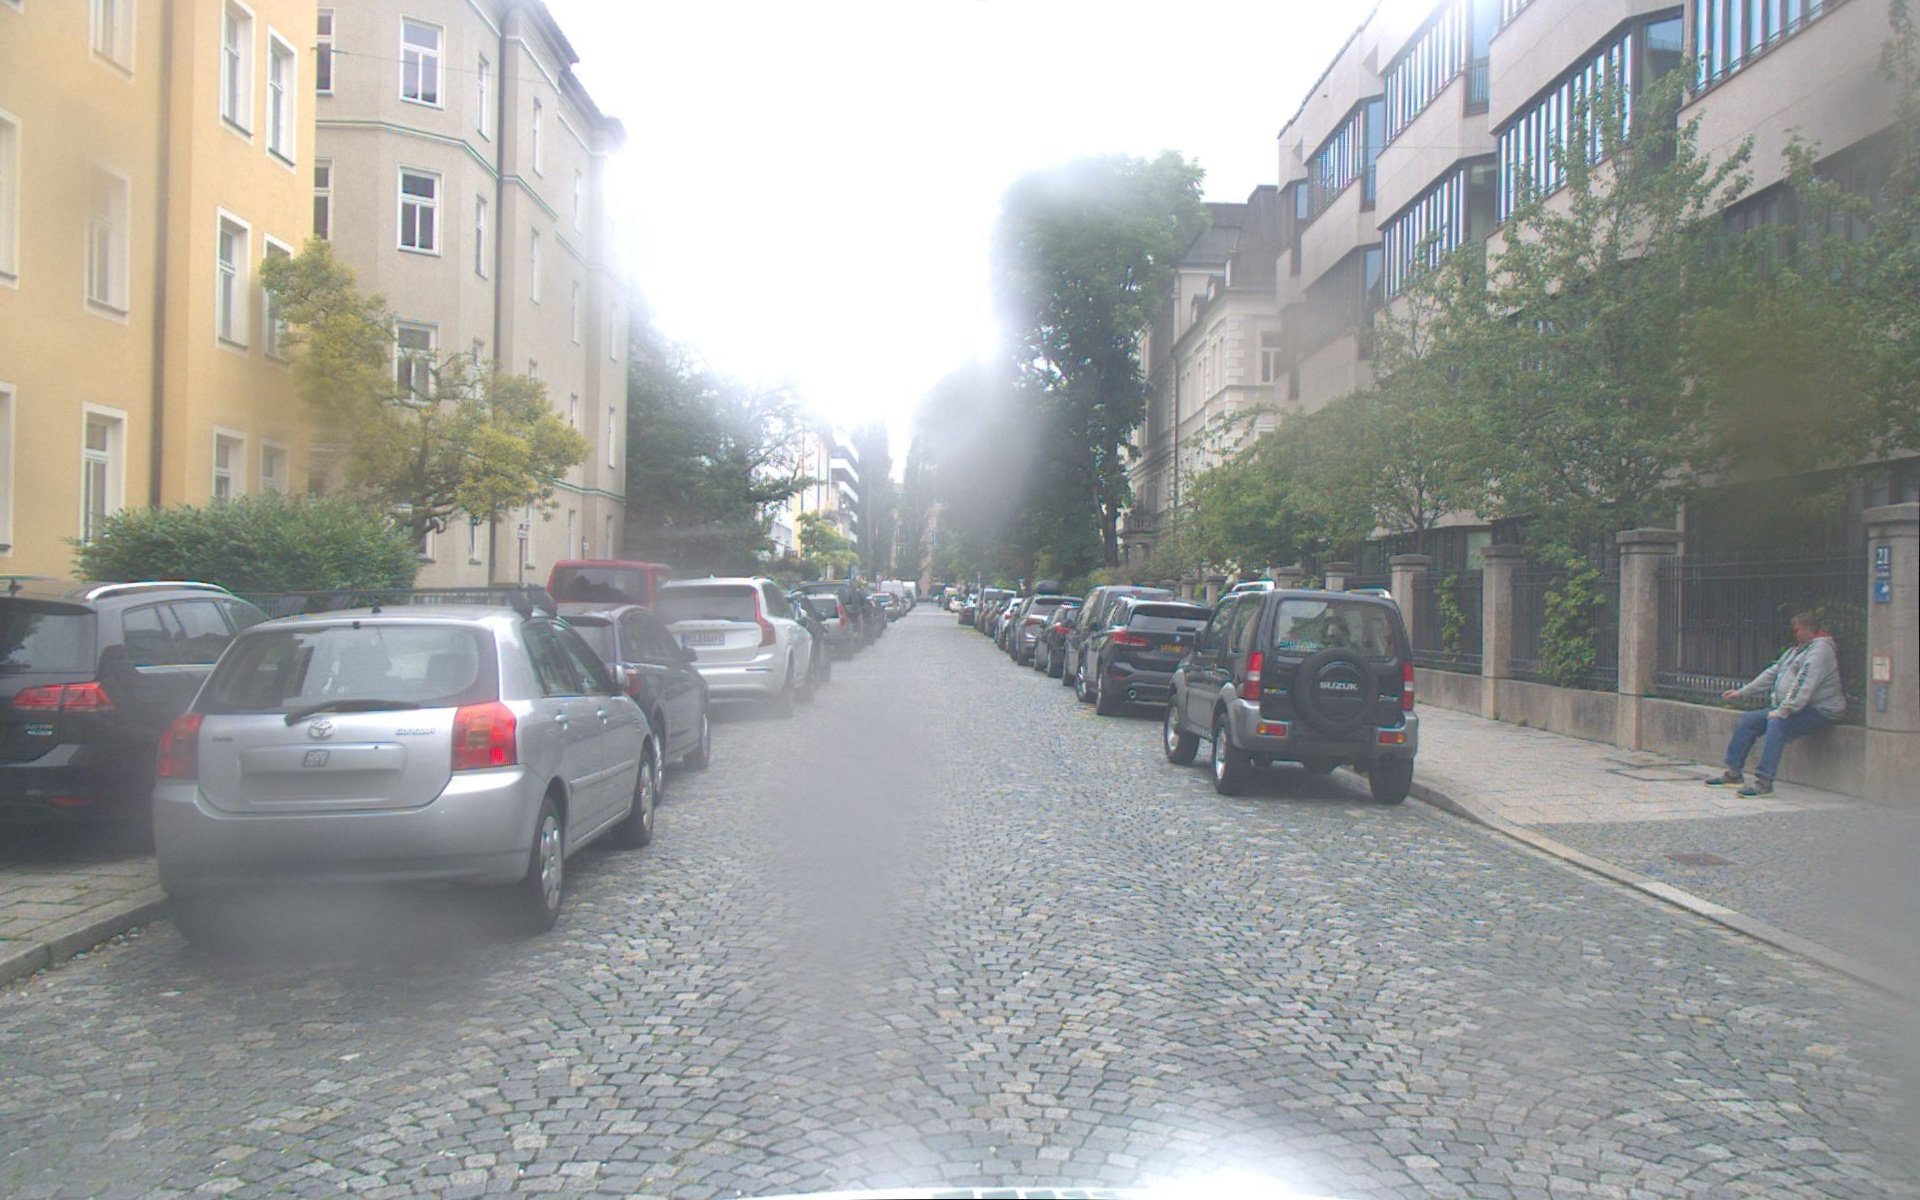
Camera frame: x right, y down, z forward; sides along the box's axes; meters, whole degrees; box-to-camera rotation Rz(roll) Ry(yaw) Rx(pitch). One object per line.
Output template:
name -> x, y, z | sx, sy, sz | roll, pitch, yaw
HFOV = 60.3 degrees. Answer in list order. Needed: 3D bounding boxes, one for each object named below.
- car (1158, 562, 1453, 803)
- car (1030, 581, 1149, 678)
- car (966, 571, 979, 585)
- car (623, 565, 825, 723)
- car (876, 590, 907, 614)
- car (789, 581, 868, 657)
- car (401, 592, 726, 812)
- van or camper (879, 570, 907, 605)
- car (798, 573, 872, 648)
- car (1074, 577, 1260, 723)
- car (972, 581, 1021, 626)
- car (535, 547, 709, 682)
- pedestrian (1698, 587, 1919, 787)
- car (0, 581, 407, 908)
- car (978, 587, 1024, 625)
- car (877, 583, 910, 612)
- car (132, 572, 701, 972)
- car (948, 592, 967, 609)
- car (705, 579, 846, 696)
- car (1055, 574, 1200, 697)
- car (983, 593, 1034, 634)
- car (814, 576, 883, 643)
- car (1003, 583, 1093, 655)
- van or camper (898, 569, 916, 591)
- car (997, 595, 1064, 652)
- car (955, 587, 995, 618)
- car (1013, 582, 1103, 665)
car -> 2.919, 0.630, 14.778 | 1.586, 1.781, 3.885 | 4, 0, -2
car -> 2.632, 0.566, 34.647 | 1.836, 1.765, 4.657 | 5, 0, -2
car -> 1.967, -3.381, 255.051 | 1.953, 2.049, 3.999 | 1, 0, -1
car -> -3.018, 0.515, 22.281 | 1.965, 1.840, 5.174 | -1, 0, 0
car -> -4.776, 0.138, 115.865 | 1.834, 1.607, 4.209 | 3, 0, 2
car -> -3.292, 0.433, 41.836 | 1.828, 1.765, 4.400 | -2, 1, -4
car -> -2.968, 0.682, 13.199 | 1.695, 1.443, 3.935 | -1, 0, -1
van or camper -> -5.292, -0.967, 130.819 | 1.953, 2.698, 3.999 | -2, 0, -1
car -> -3.474, 0.263, 46.811 | 1.835, 1.950, 4.825 | -1, 0, -2
car -> 2.780, 0.619, 23.257 | 1.823, 1.731, 4.812 | 4, 0, -1
car -> 1.693, 0.129, 78.243 | 1.836, 1.962, 5.161 | 3, 0, -3
car -> -5.539, 0.210, 27.780 | 1.954, 1.964, 5.328 | 2, 0, -2
pedestrian -> 6.842, 0.675, 13.412 | 1.192, 1.519, 1.129 | -2, 0, 1
car -> -5.107, 0.686, 10.409 | 1.680, 1.523, 4.720 | 3, 0, -1
car -> 1.769, 0.244, 72.567 | 1.800, 1.516, 4.421 | 3, 0, 0
car -> -3.969, -0.150, 97.891 | 1.836, 1.607, 4.253 | -2, 0, -3
car -> -2.549, 0.687, 8.922 | 1.679, 1.589, 4.389 | -1, 0, -1
car -> -0.242, 0.042, 151.839 | 1.753, 1.547, 4.000 | 1, 0, -1
car -> -3.120, 0.593, 28.844 | 1.878, 1.765, 4.755 | -3, 0, -1
car -> 2.814, 0.558, 28.699 | 1.753, 1.827, 4.507 | 5, 0, -3
car -> 1.894, 0.504, 65.652 | 1.679, 1.498, 4.267 | 3, 0, -2
car -> -3.535, 0.271, 53.292 | 1.953, 1.950, 5.175 | -3, 0, -2
car -> 2.354, 0.482, 45.535 | 1.836, 1.765, 4.744 | 4, 0, -3
van or camper -> -6.889, -2.616, 215.357 | 2.210, 2.790, 5.097 | 2, 0, -1
car -> 2.103, 0.671, 50.664 | 1.835, 1.516, 4.617 | 3, 1, 1
car -> 0.807, 0.131, 90.205 | 1.836, 1.529, 4.508 | 3, 0, -3
car -> 2.281, 0.524, 39.633 | 1.835, 1.765, 4.891 | 3, 0, 0
